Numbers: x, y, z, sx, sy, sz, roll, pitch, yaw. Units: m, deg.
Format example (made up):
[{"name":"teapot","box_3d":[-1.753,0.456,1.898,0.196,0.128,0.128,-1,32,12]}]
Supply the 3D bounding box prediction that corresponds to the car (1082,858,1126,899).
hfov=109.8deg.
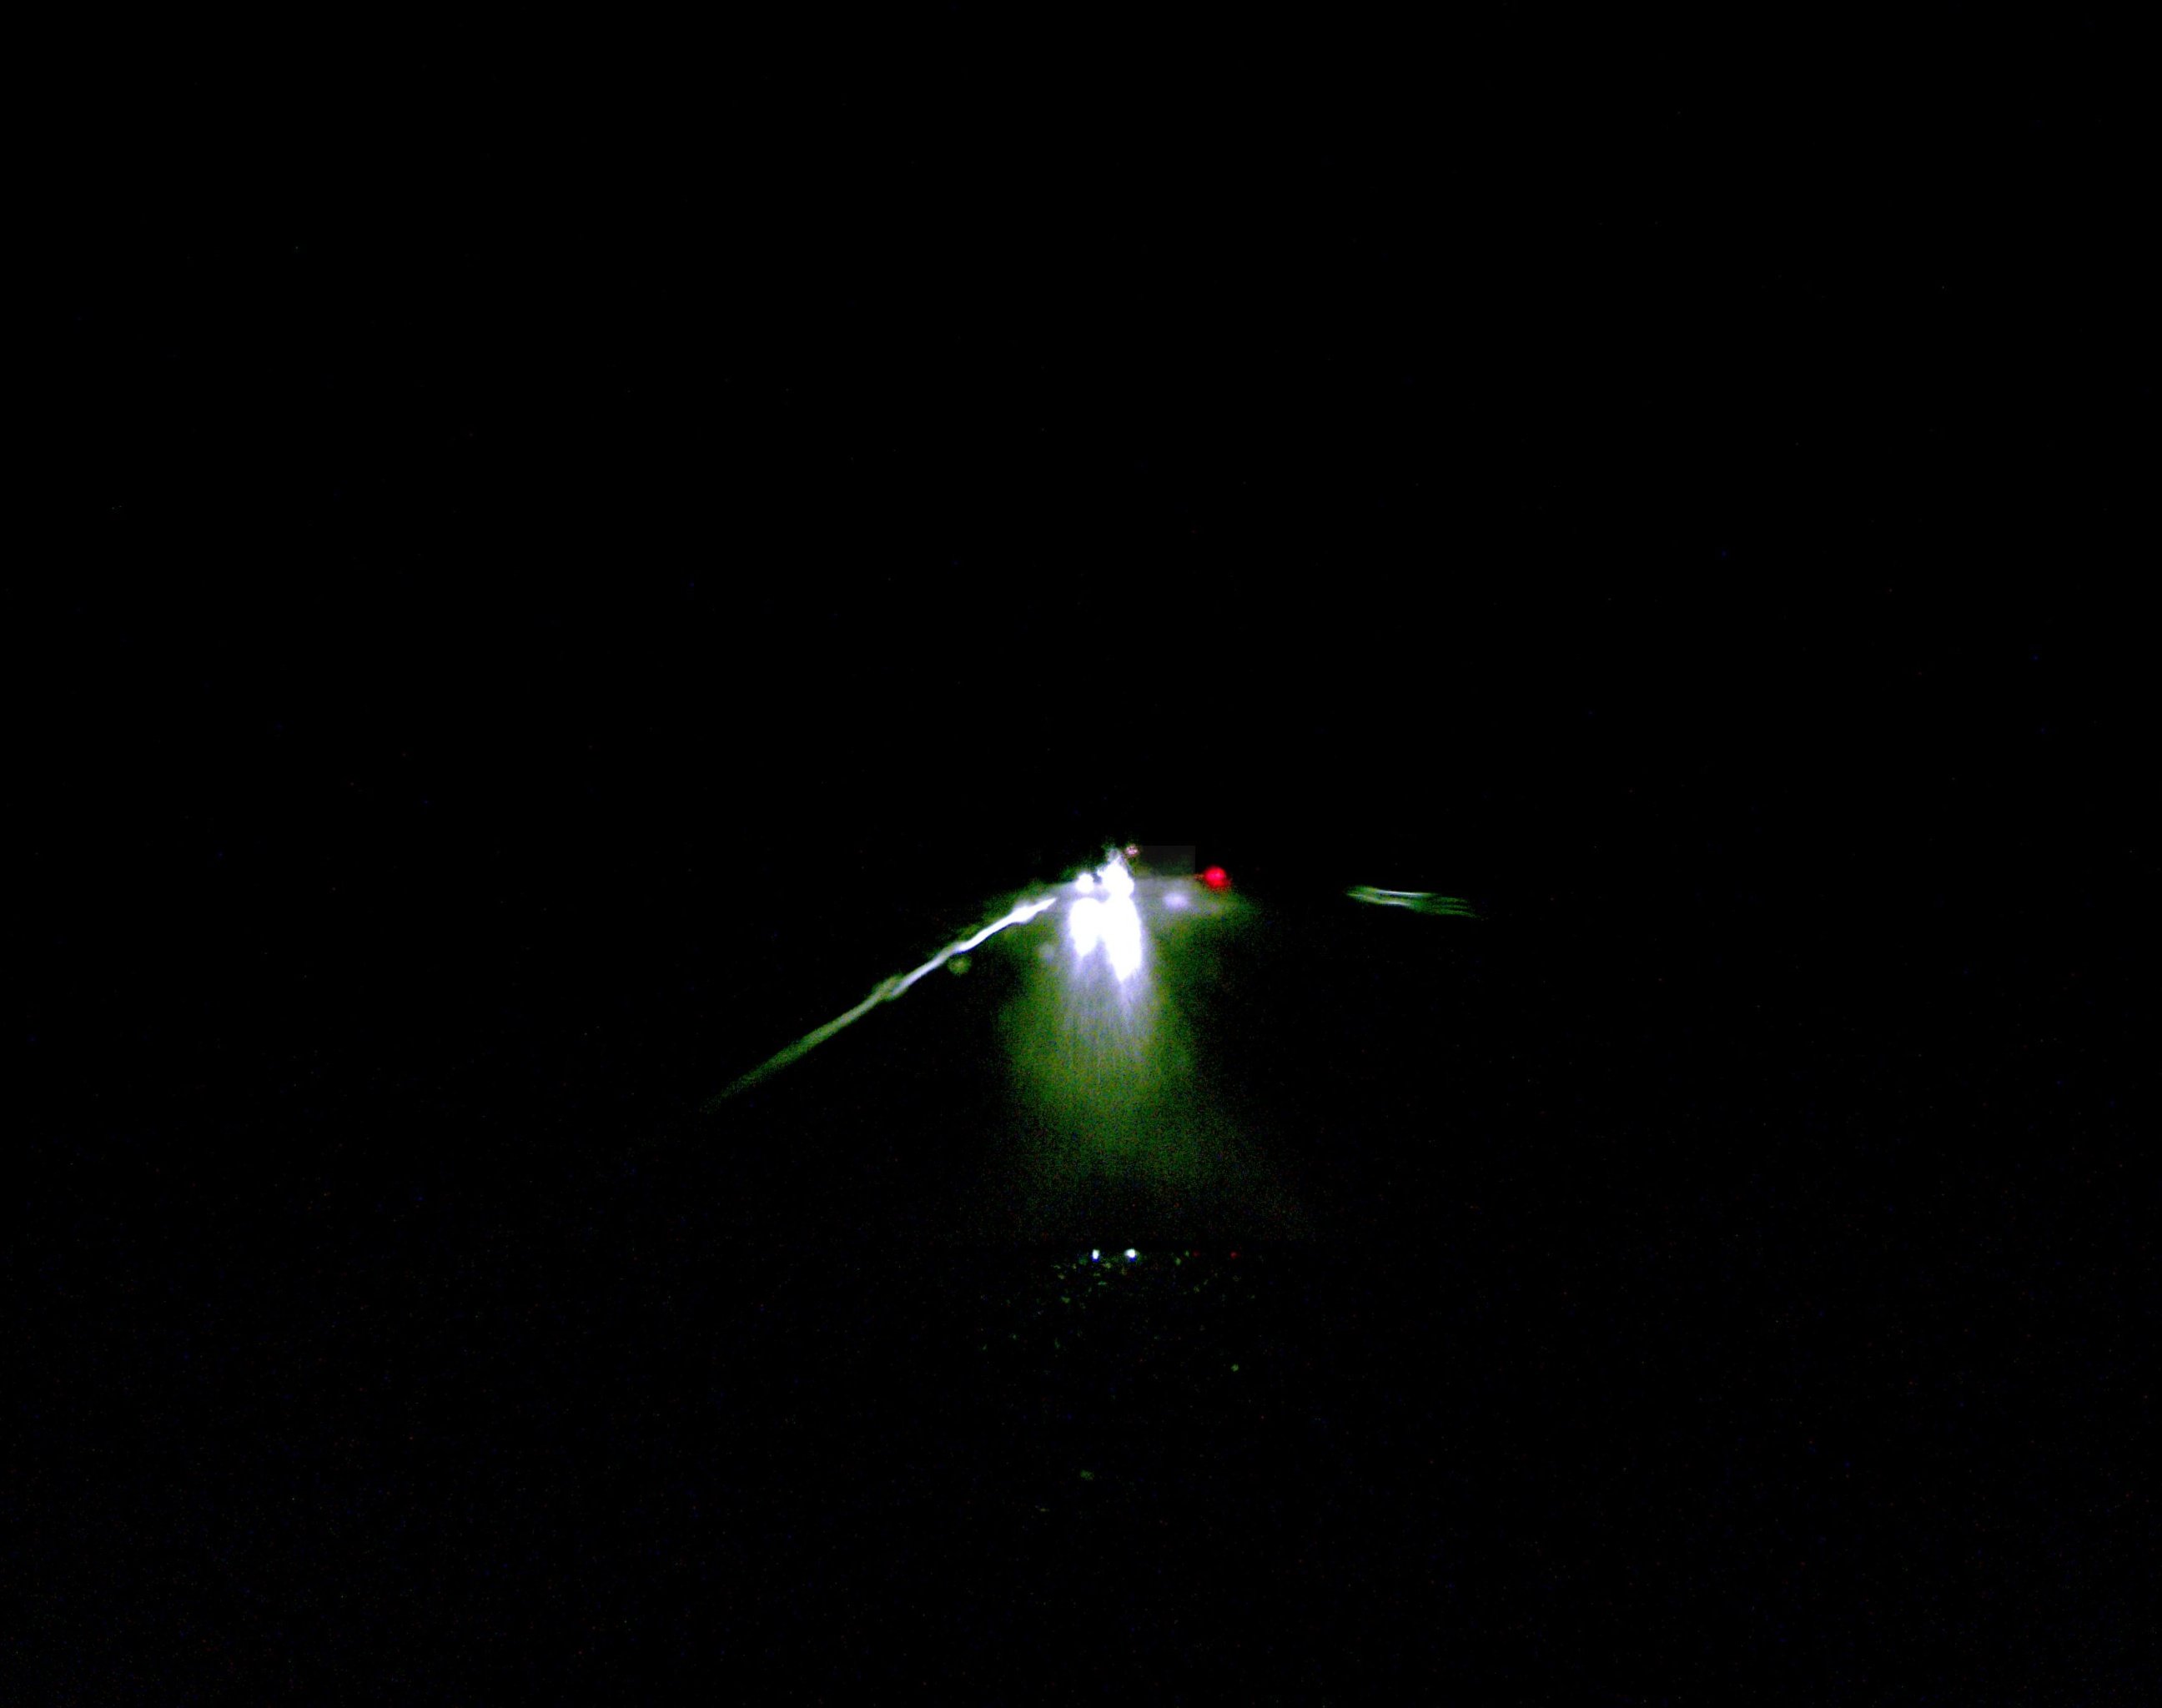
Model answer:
[{"name":"car","box_3d":[1.017,1.015,32.689,1.744,1.502,3.600,-3,1,3]}]

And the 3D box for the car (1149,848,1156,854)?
[{"name":"car","box_3d":[20.814,-0.967,221.479,1.744,1.632,3.600,-3,1,2]}]

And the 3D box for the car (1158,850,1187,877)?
[{"name":"car","box_3d":[7.274,0.742,60.549,1.998,2.056,4.347,-1,0,3]}]

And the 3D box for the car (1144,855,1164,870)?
[{"name":"car","box_3d":[7.617,0.898,79.373,1.855,1.480,3.994,-3,0,3]}]

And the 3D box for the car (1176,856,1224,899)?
[{"name":"car","box_3d":[4.514,0.873,29.191,1.598,1.501,3.602,1,-1,6]}]
